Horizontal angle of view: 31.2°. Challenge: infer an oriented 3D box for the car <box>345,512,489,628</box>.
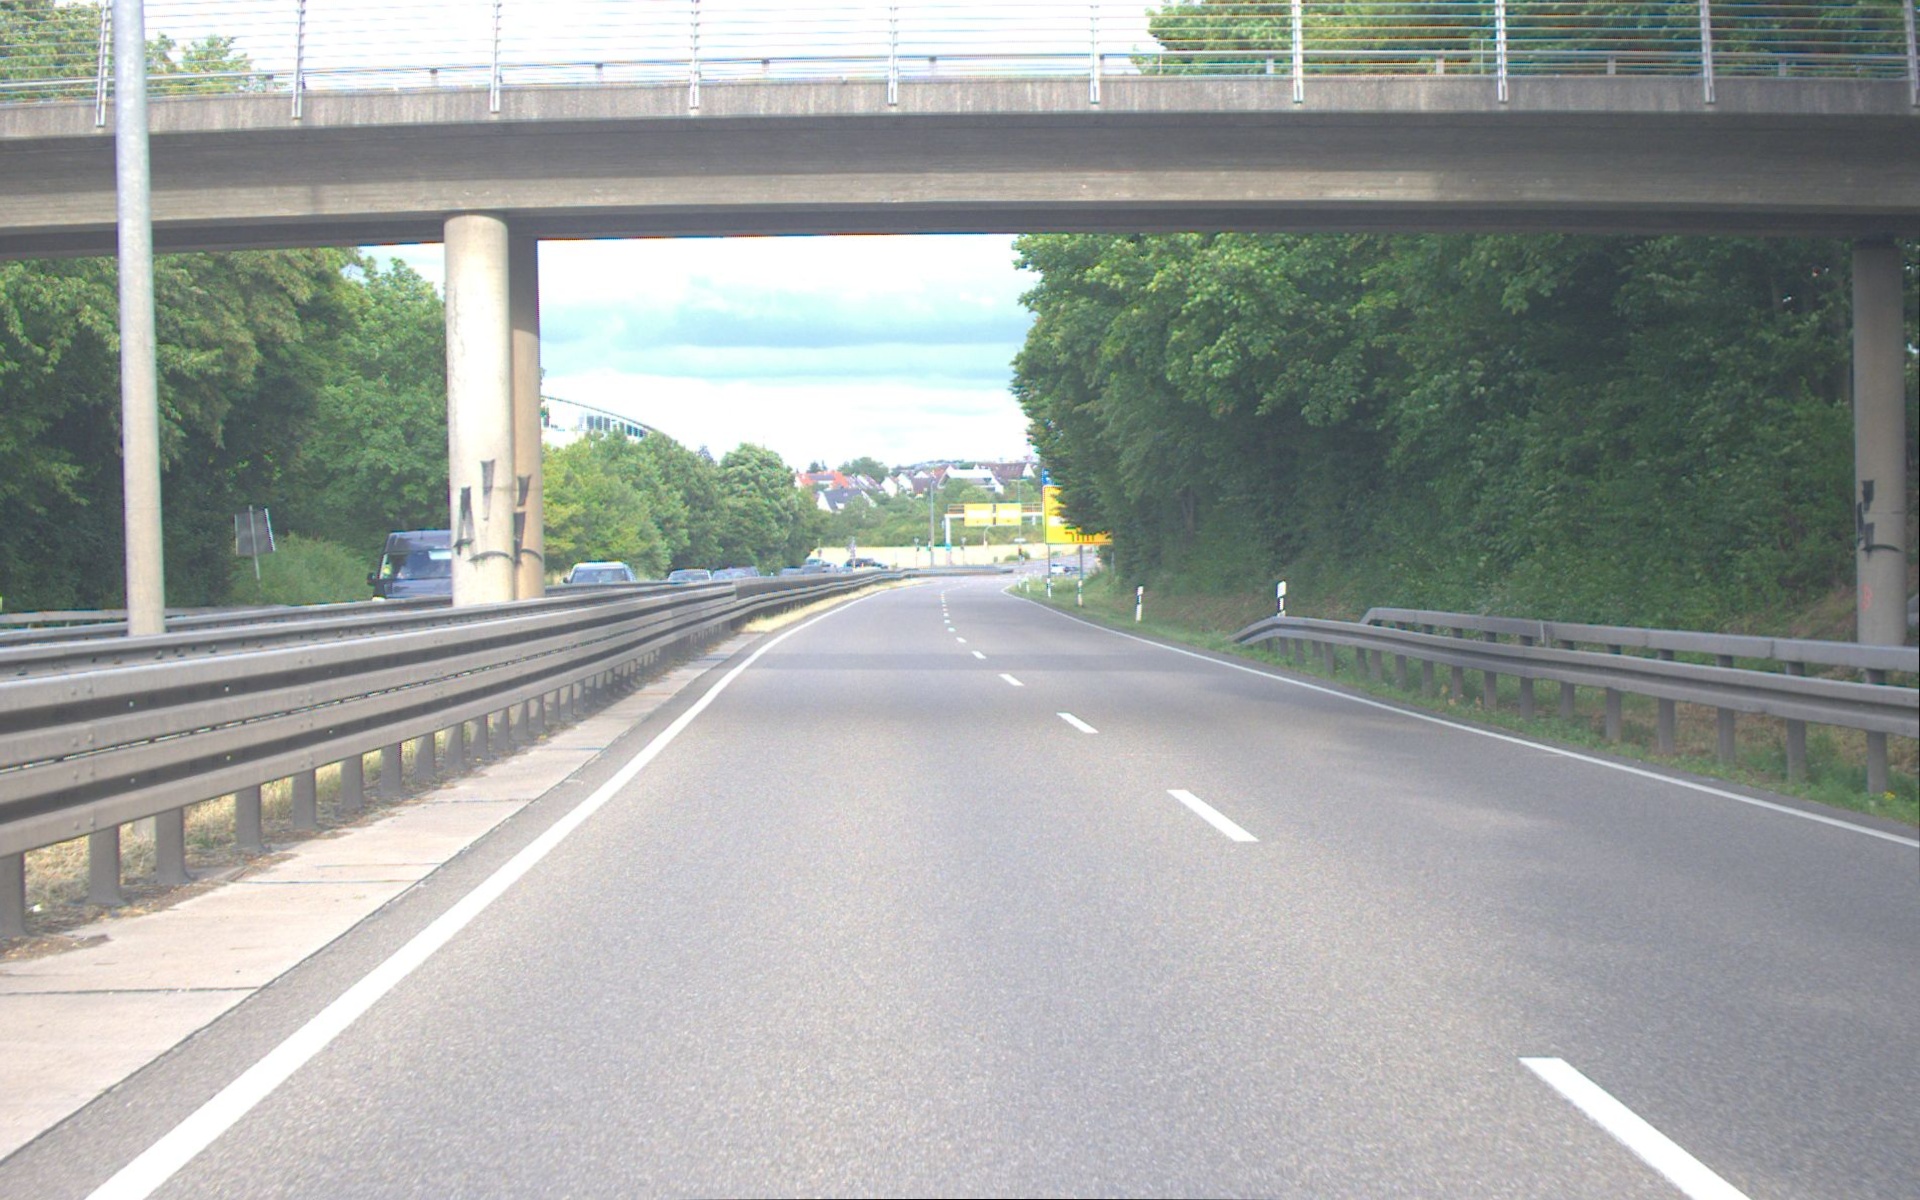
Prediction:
[{"bbox_3d":[-12.381,-0.705,78.800,2.249,2.528,6.941,0,1,-1],"label":"car"}]
